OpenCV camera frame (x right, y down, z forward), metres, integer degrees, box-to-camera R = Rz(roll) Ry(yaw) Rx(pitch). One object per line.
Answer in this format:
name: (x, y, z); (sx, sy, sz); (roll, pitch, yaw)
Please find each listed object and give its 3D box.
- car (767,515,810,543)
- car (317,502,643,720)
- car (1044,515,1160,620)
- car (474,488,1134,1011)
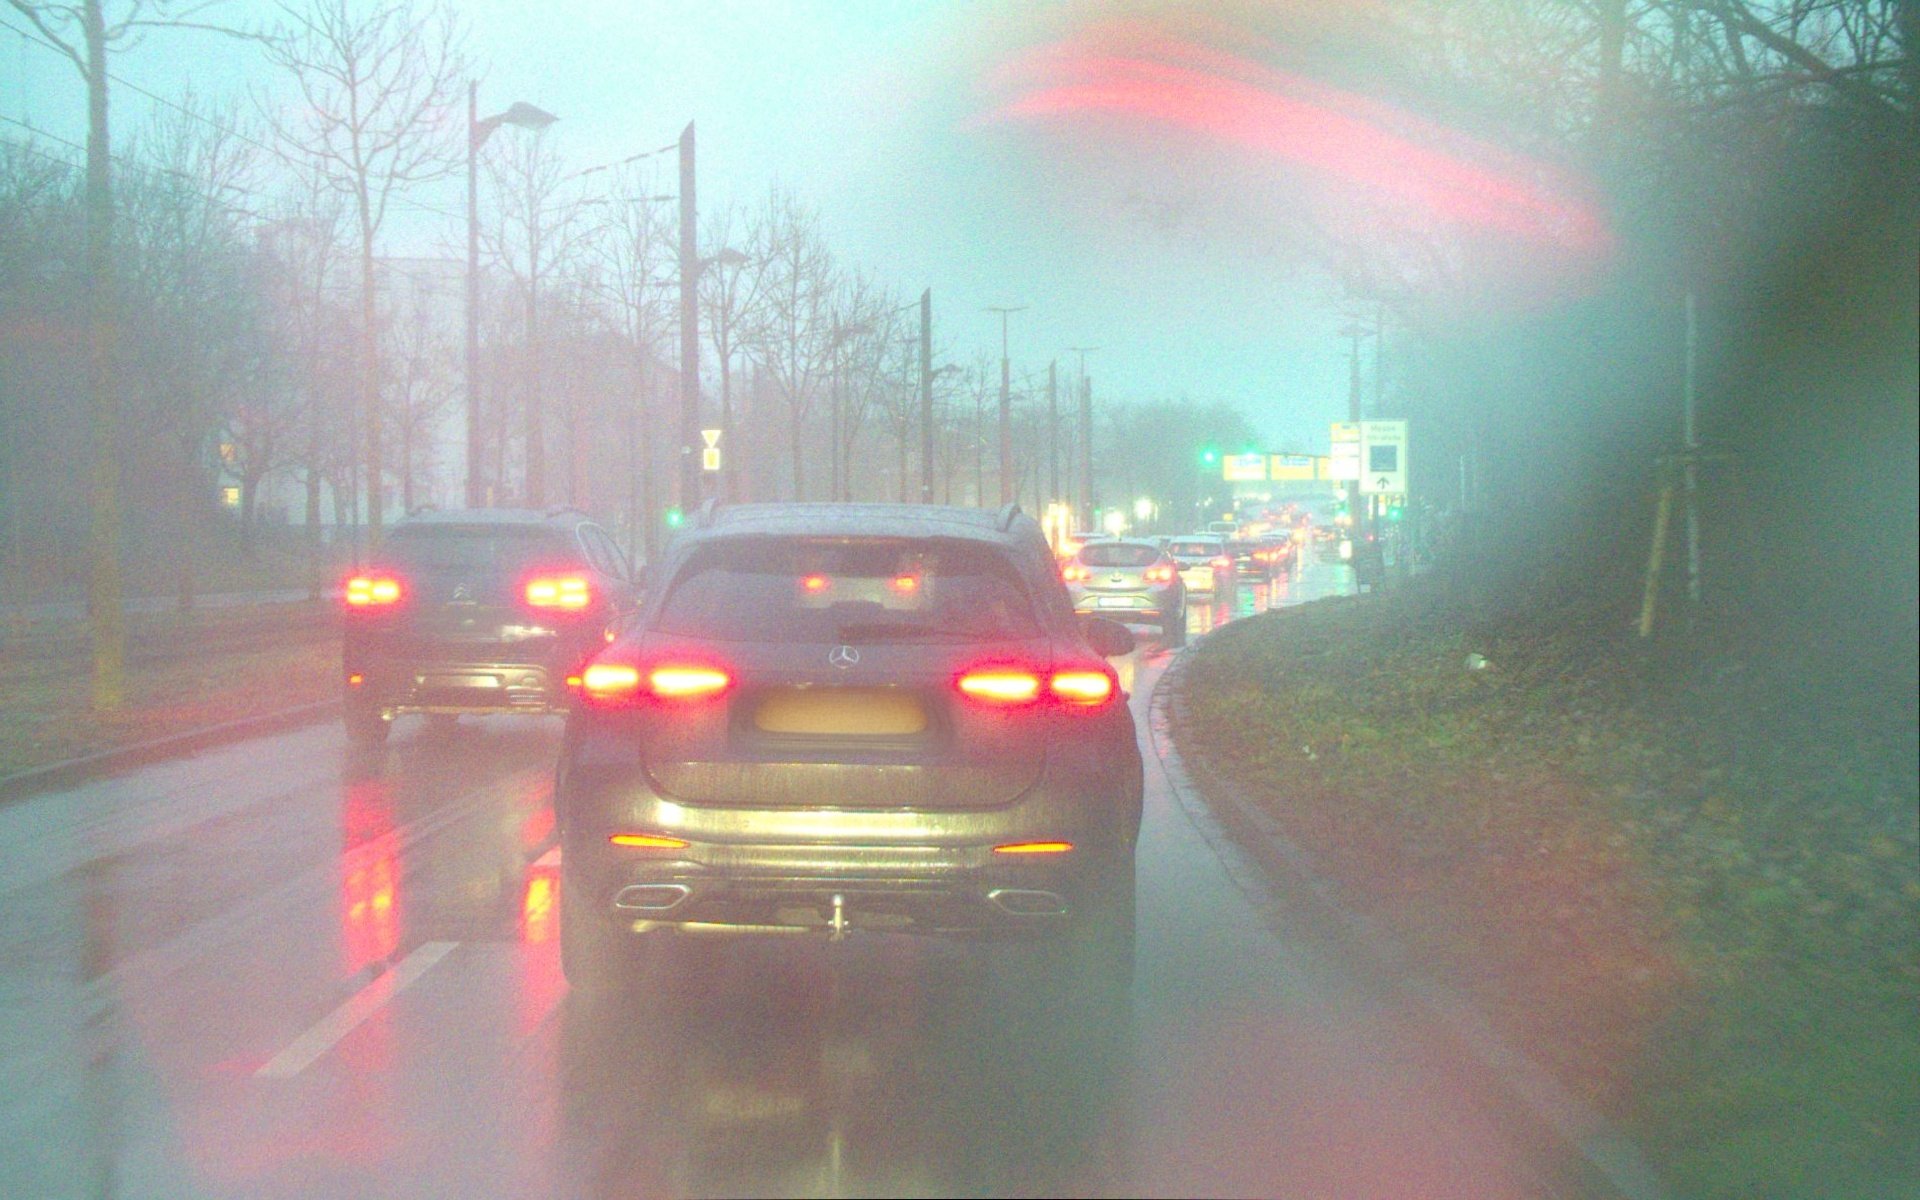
car: (-10.446, -4.332, 209.937); (1.994, 1.652, 3.999); (1, 1, 6)
car: (-3.433, 0.016, 25.290); (1.880, 1.454, 4.001); (0, 2, -1)
car: (2.146, -0.520, 52.796); (1.708, 1.552, 3.996); (0, 1, 1)
car: (-0.497, 0.403, 12.448); (1.998, 1.578, 4.000); (0, 1, -1)
